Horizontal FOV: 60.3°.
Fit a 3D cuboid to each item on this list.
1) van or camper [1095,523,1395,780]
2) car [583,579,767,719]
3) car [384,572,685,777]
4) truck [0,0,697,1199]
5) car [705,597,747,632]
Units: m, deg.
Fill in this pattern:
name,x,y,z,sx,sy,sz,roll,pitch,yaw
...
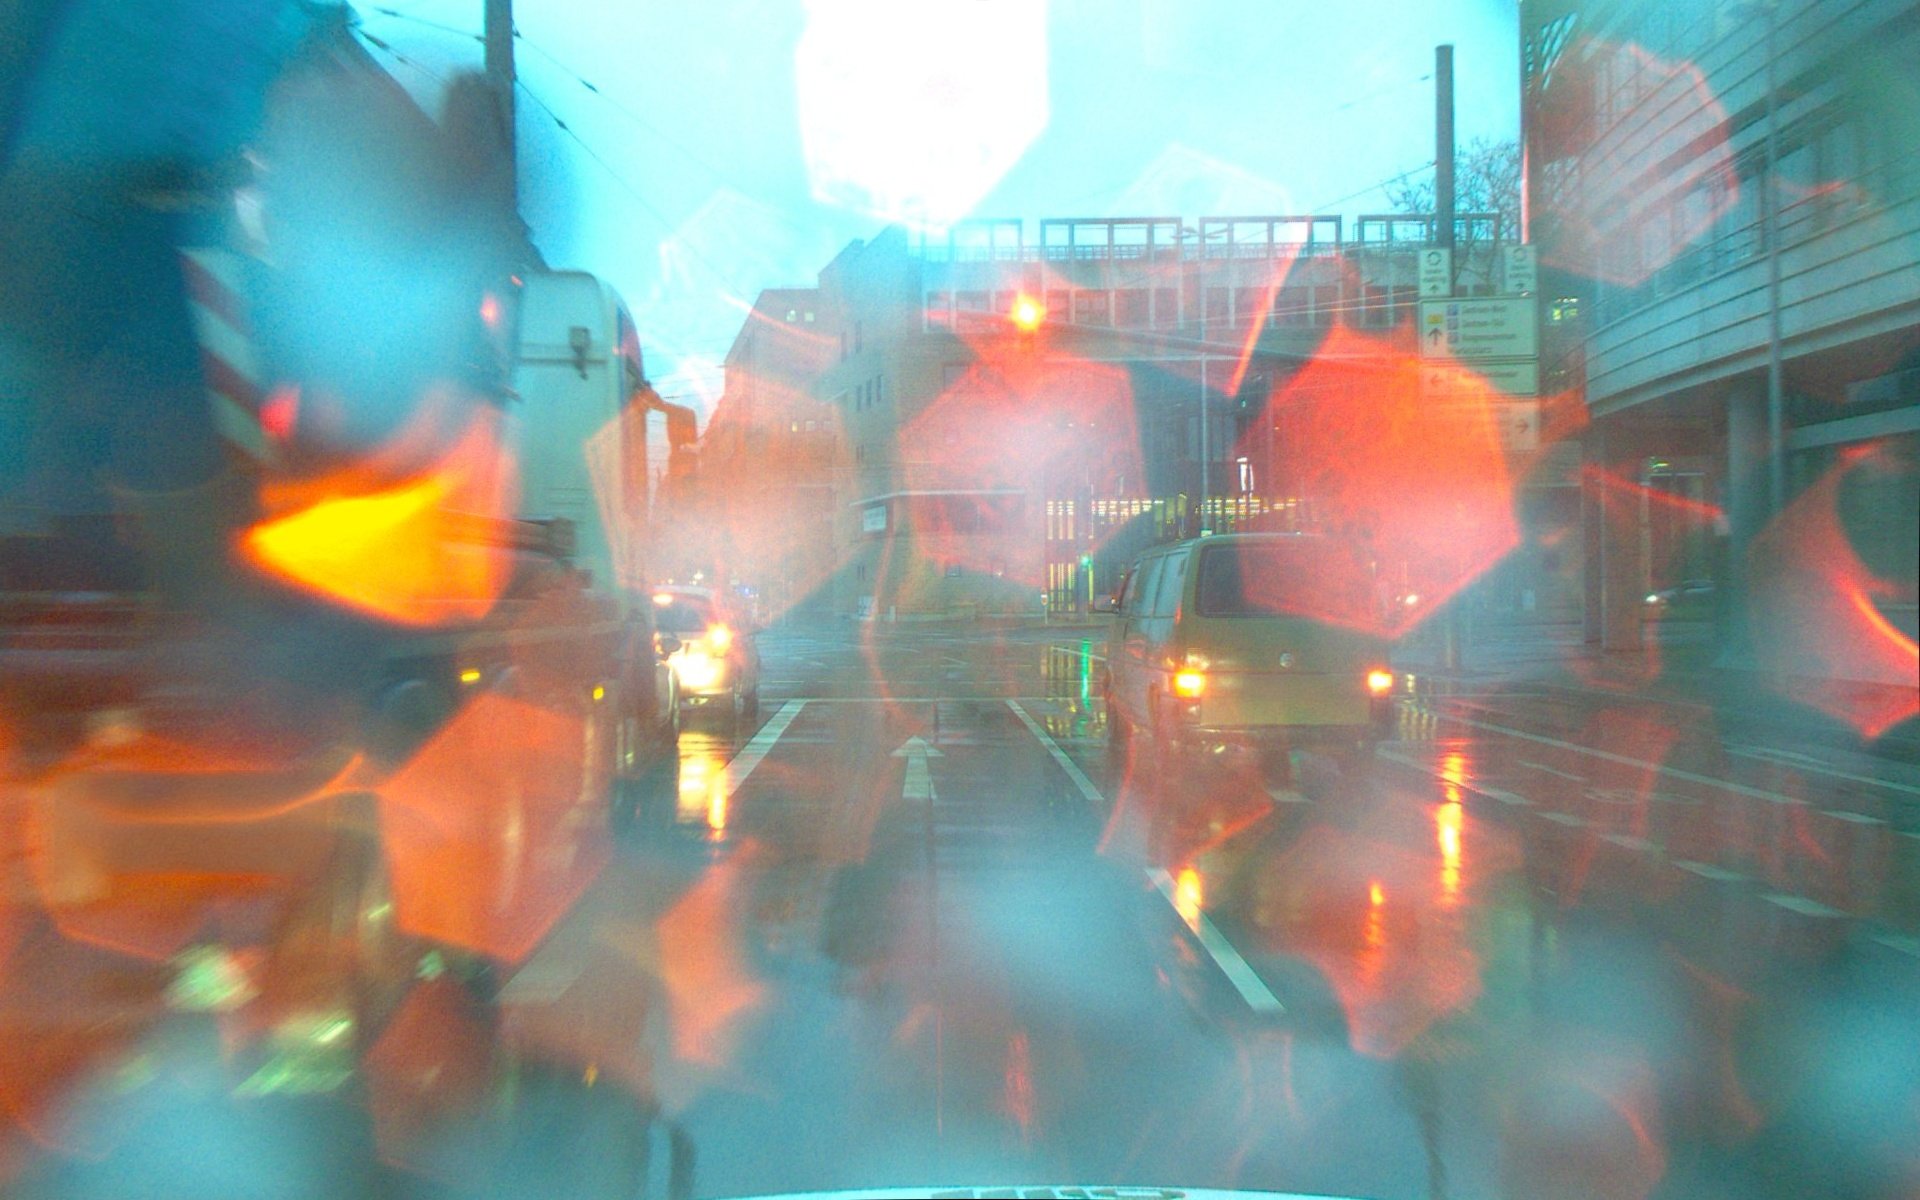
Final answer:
name,x,y,z,sx,sy,sz,roll,pitch,yaw
van or camper,2.359,0.381,14.827,1.722,1.940,4.416,1,0,-3
car,-3.309,0.520,19.809,1.664,1.485,3.755,-1,0,-2
car,-3.449,0.560,14.119,1.671,1.473,3.998,1,0,-3
truck,-2.945,-0.394,7.259,2.783,3.697,7.521,-1,0,-4
car,-11.393,0.684,80.288,1.837,1.606,3.990,2,0,-11
